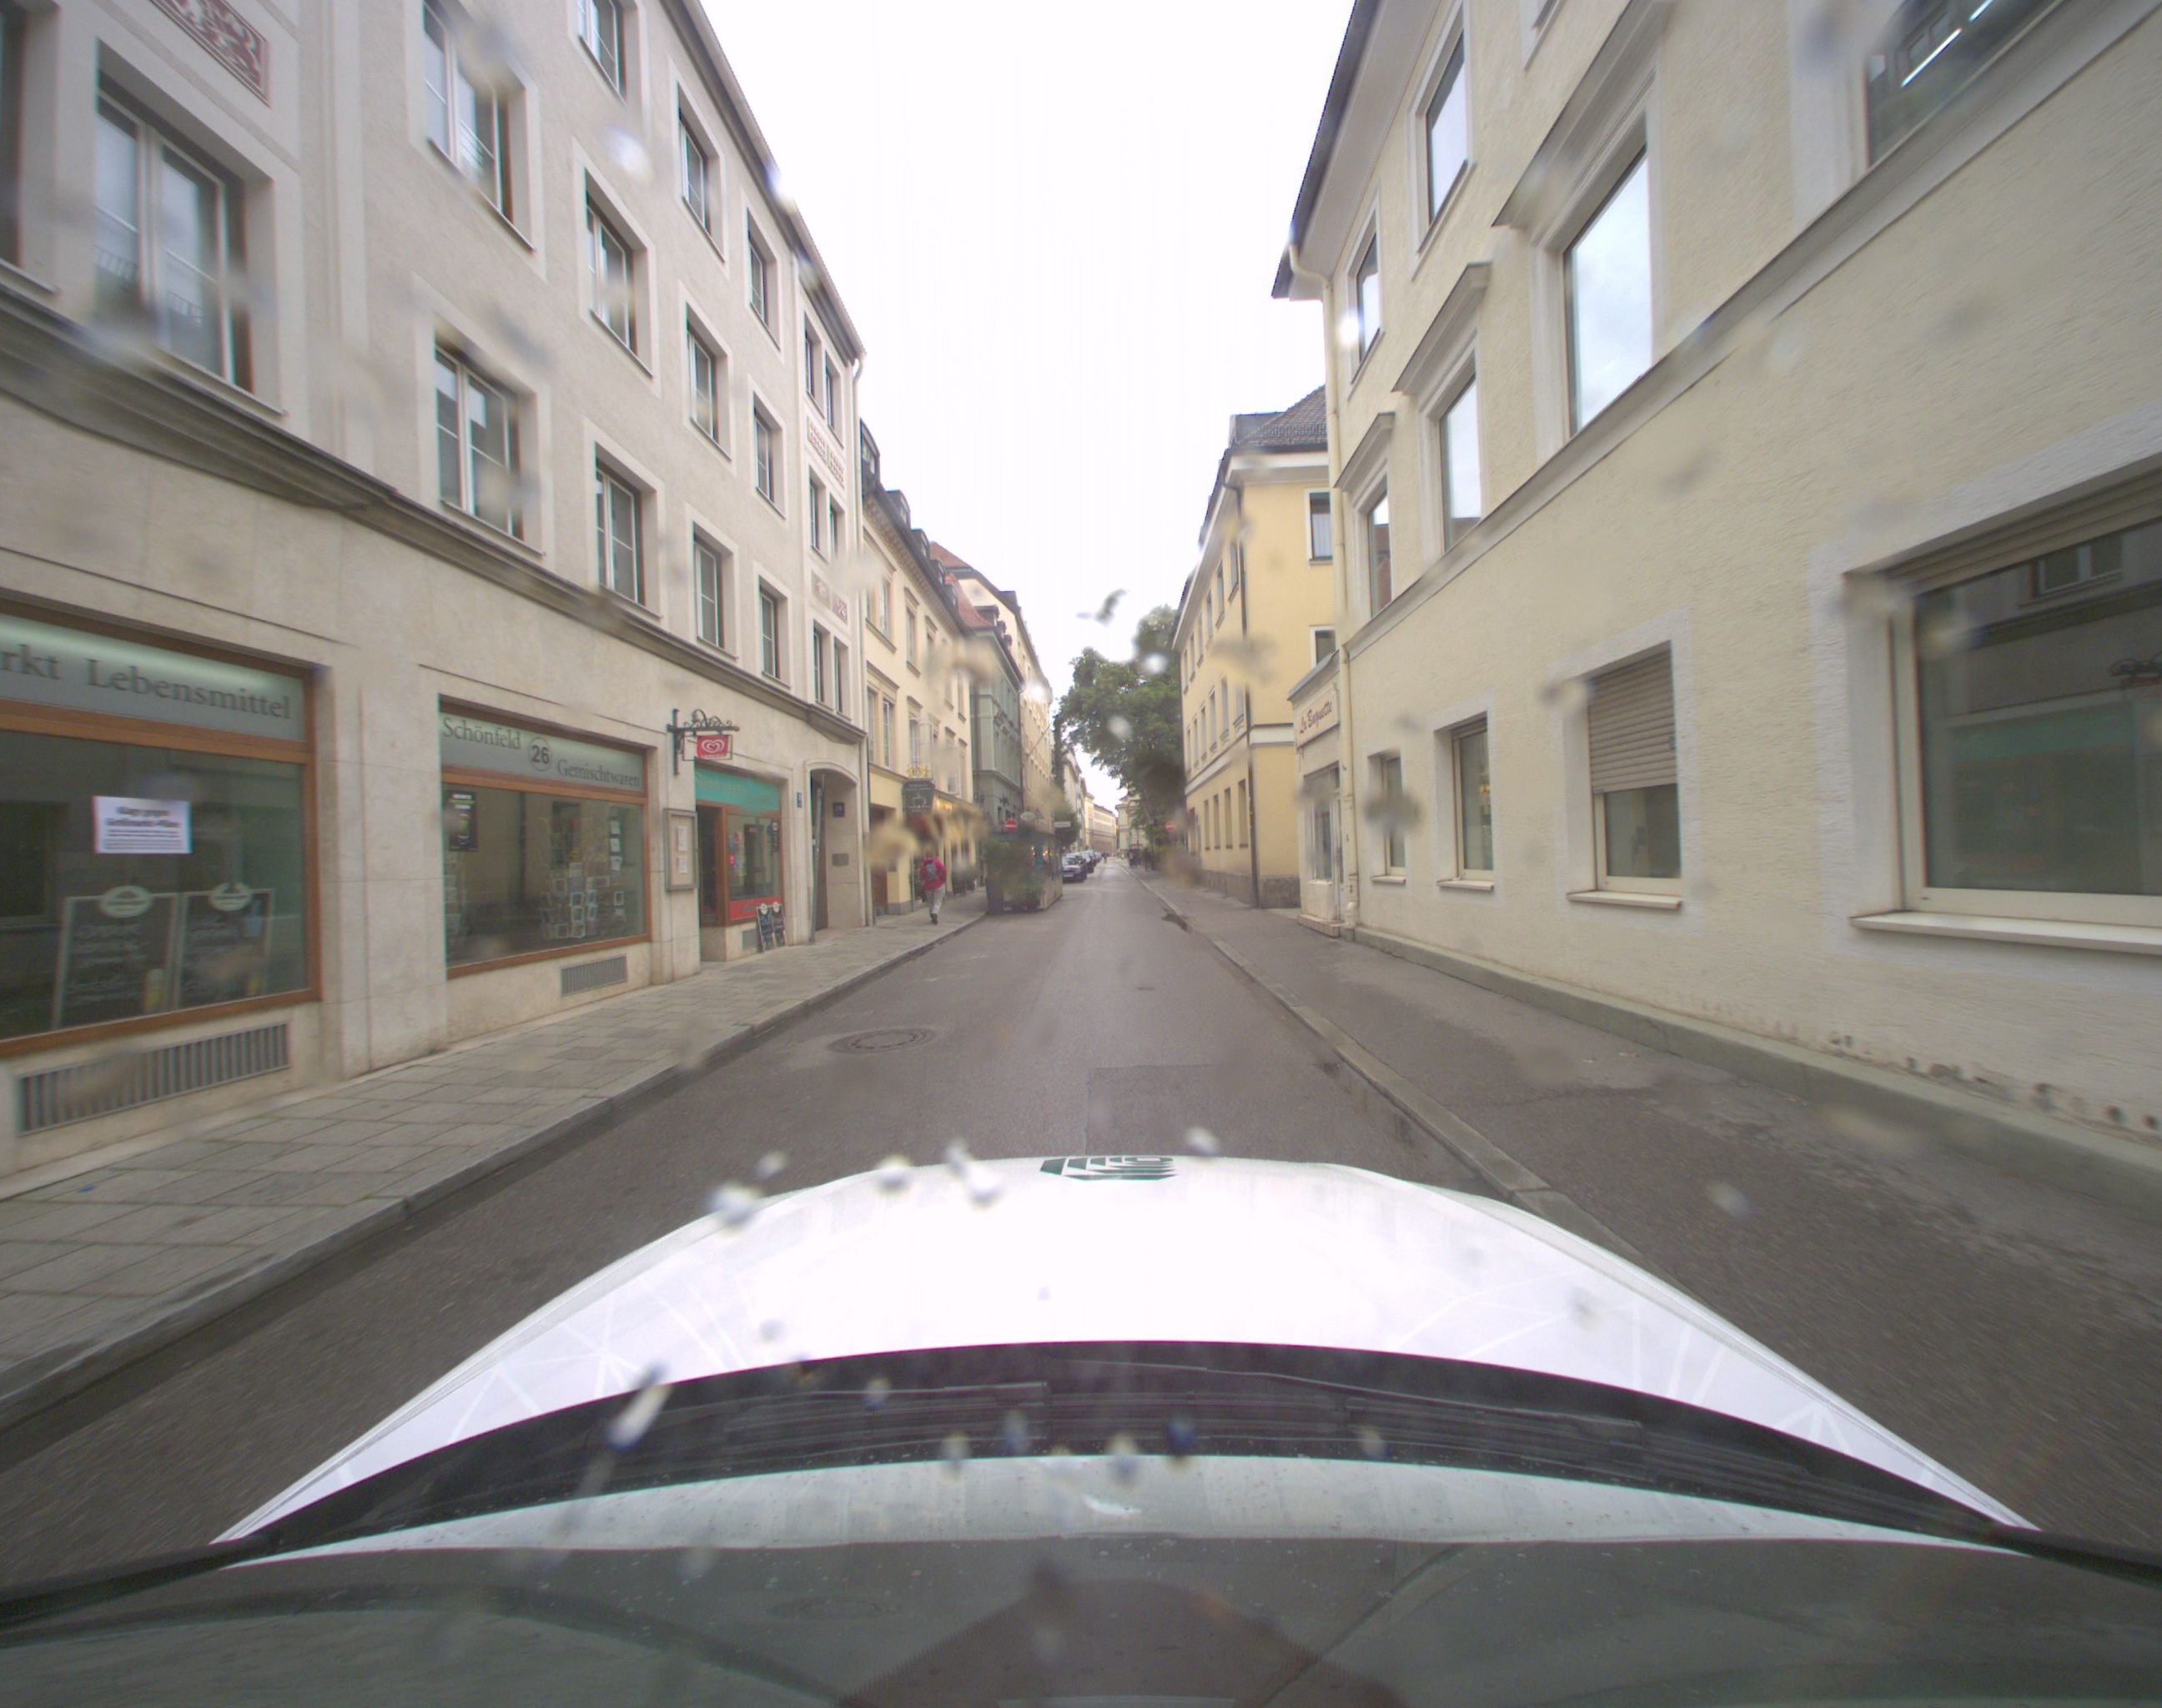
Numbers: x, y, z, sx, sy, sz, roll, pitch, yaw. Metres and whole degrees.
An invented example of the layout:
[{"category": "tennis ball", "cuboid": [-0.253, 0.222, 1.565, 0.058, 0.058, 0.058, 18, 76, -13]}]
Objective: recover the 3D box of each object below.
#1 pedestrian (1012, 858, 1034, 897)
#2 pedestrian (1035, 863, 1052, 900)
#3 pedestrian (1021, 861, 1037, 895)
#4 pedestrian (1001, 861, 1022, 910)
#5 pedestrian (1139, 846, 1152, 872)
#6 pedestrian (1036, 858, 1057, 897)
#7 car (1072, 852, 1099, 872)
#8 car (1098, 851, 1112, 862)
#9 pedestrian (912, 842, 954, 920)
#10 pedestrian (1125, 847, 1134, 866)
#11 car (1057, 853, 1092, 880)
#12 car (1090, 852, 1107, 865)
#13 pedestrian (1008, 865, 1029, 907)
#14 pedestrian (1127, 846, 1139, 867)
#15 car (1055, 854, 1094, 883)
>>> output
[{"category": "pedestrian", "cuboid": [-2.048, 0.828, 28.793, 0.671, 1.326, 0.696, -1, 0, 0]}, {"category": "pedestrian", "cuboid": [-1.223, 0.908, 26.880, 0.508, 1.175, 0.630, -1, 0, 0]}, {"category": "pedestrian", "cuboid": [-1.901, 0.869, 29.742, 0.508, 1.237, 0.630, -1, 0, 0]}, {"category": "pedestrian", "cuboid": [-1.908, 0.862, 22.424, 0.508, 1.326, 0.630, -1, 0, 0]}, {"category": "pedestrian", "cuboid": [4.538, 0.356, 57.338, 0.877, 1.802, 1.047, -1, 0, 2]}, {"category": "pedestrian", "cuboid": [-1.194, 0.813, 28.569, 0.671, 1.326, 0.696, -1, 0, 0]}, {"category": "car", "cuboid": [0.392, 0.610, 63.544, 1.771, 1.466, 3.546, -1, 0, 5]}, {"category": "car", "cuboid": [3.449, 0.359, 116.133, 1.771, 1.466, 3.546, -1, 0, 5]}, {"category": "pedestrian", "cuboid": [-3.405, 0.607, 18.779, 0.763, 1.708, 0.785, -3, 0, -1]}, {"category": "pedestrian", "cuboid": [4.508, 0.255, 76.439, 0.790, 1.802, 0.904, -1, 0, 2]}, {"category": "car", "cuboid": [-0.348, 0.727, 48.594, 1.771, 1.466, 3.546, -1, 0, 5]}, {"category": "car", "cuboid": [2.021, 0.493, 93.256, 1.771, 1.466, 3.546, -1, 0, 5]}, {"category": "pedestrian", "cuboid": [-1.798, 0.911, 23.423, 0.508, 1.187, 0.630, -1, 0, 0]}, {"category": "pedestrian", "cuboid": [4.557, 0.243, 71.381, 1.011, 1.802, 1.350, -1, 0, 2]}, {"category": "car", "cuboid": [-0.321, 0.749, 44.063, 1.771, 1.466, 3.667, -1, 0, 5]}]
